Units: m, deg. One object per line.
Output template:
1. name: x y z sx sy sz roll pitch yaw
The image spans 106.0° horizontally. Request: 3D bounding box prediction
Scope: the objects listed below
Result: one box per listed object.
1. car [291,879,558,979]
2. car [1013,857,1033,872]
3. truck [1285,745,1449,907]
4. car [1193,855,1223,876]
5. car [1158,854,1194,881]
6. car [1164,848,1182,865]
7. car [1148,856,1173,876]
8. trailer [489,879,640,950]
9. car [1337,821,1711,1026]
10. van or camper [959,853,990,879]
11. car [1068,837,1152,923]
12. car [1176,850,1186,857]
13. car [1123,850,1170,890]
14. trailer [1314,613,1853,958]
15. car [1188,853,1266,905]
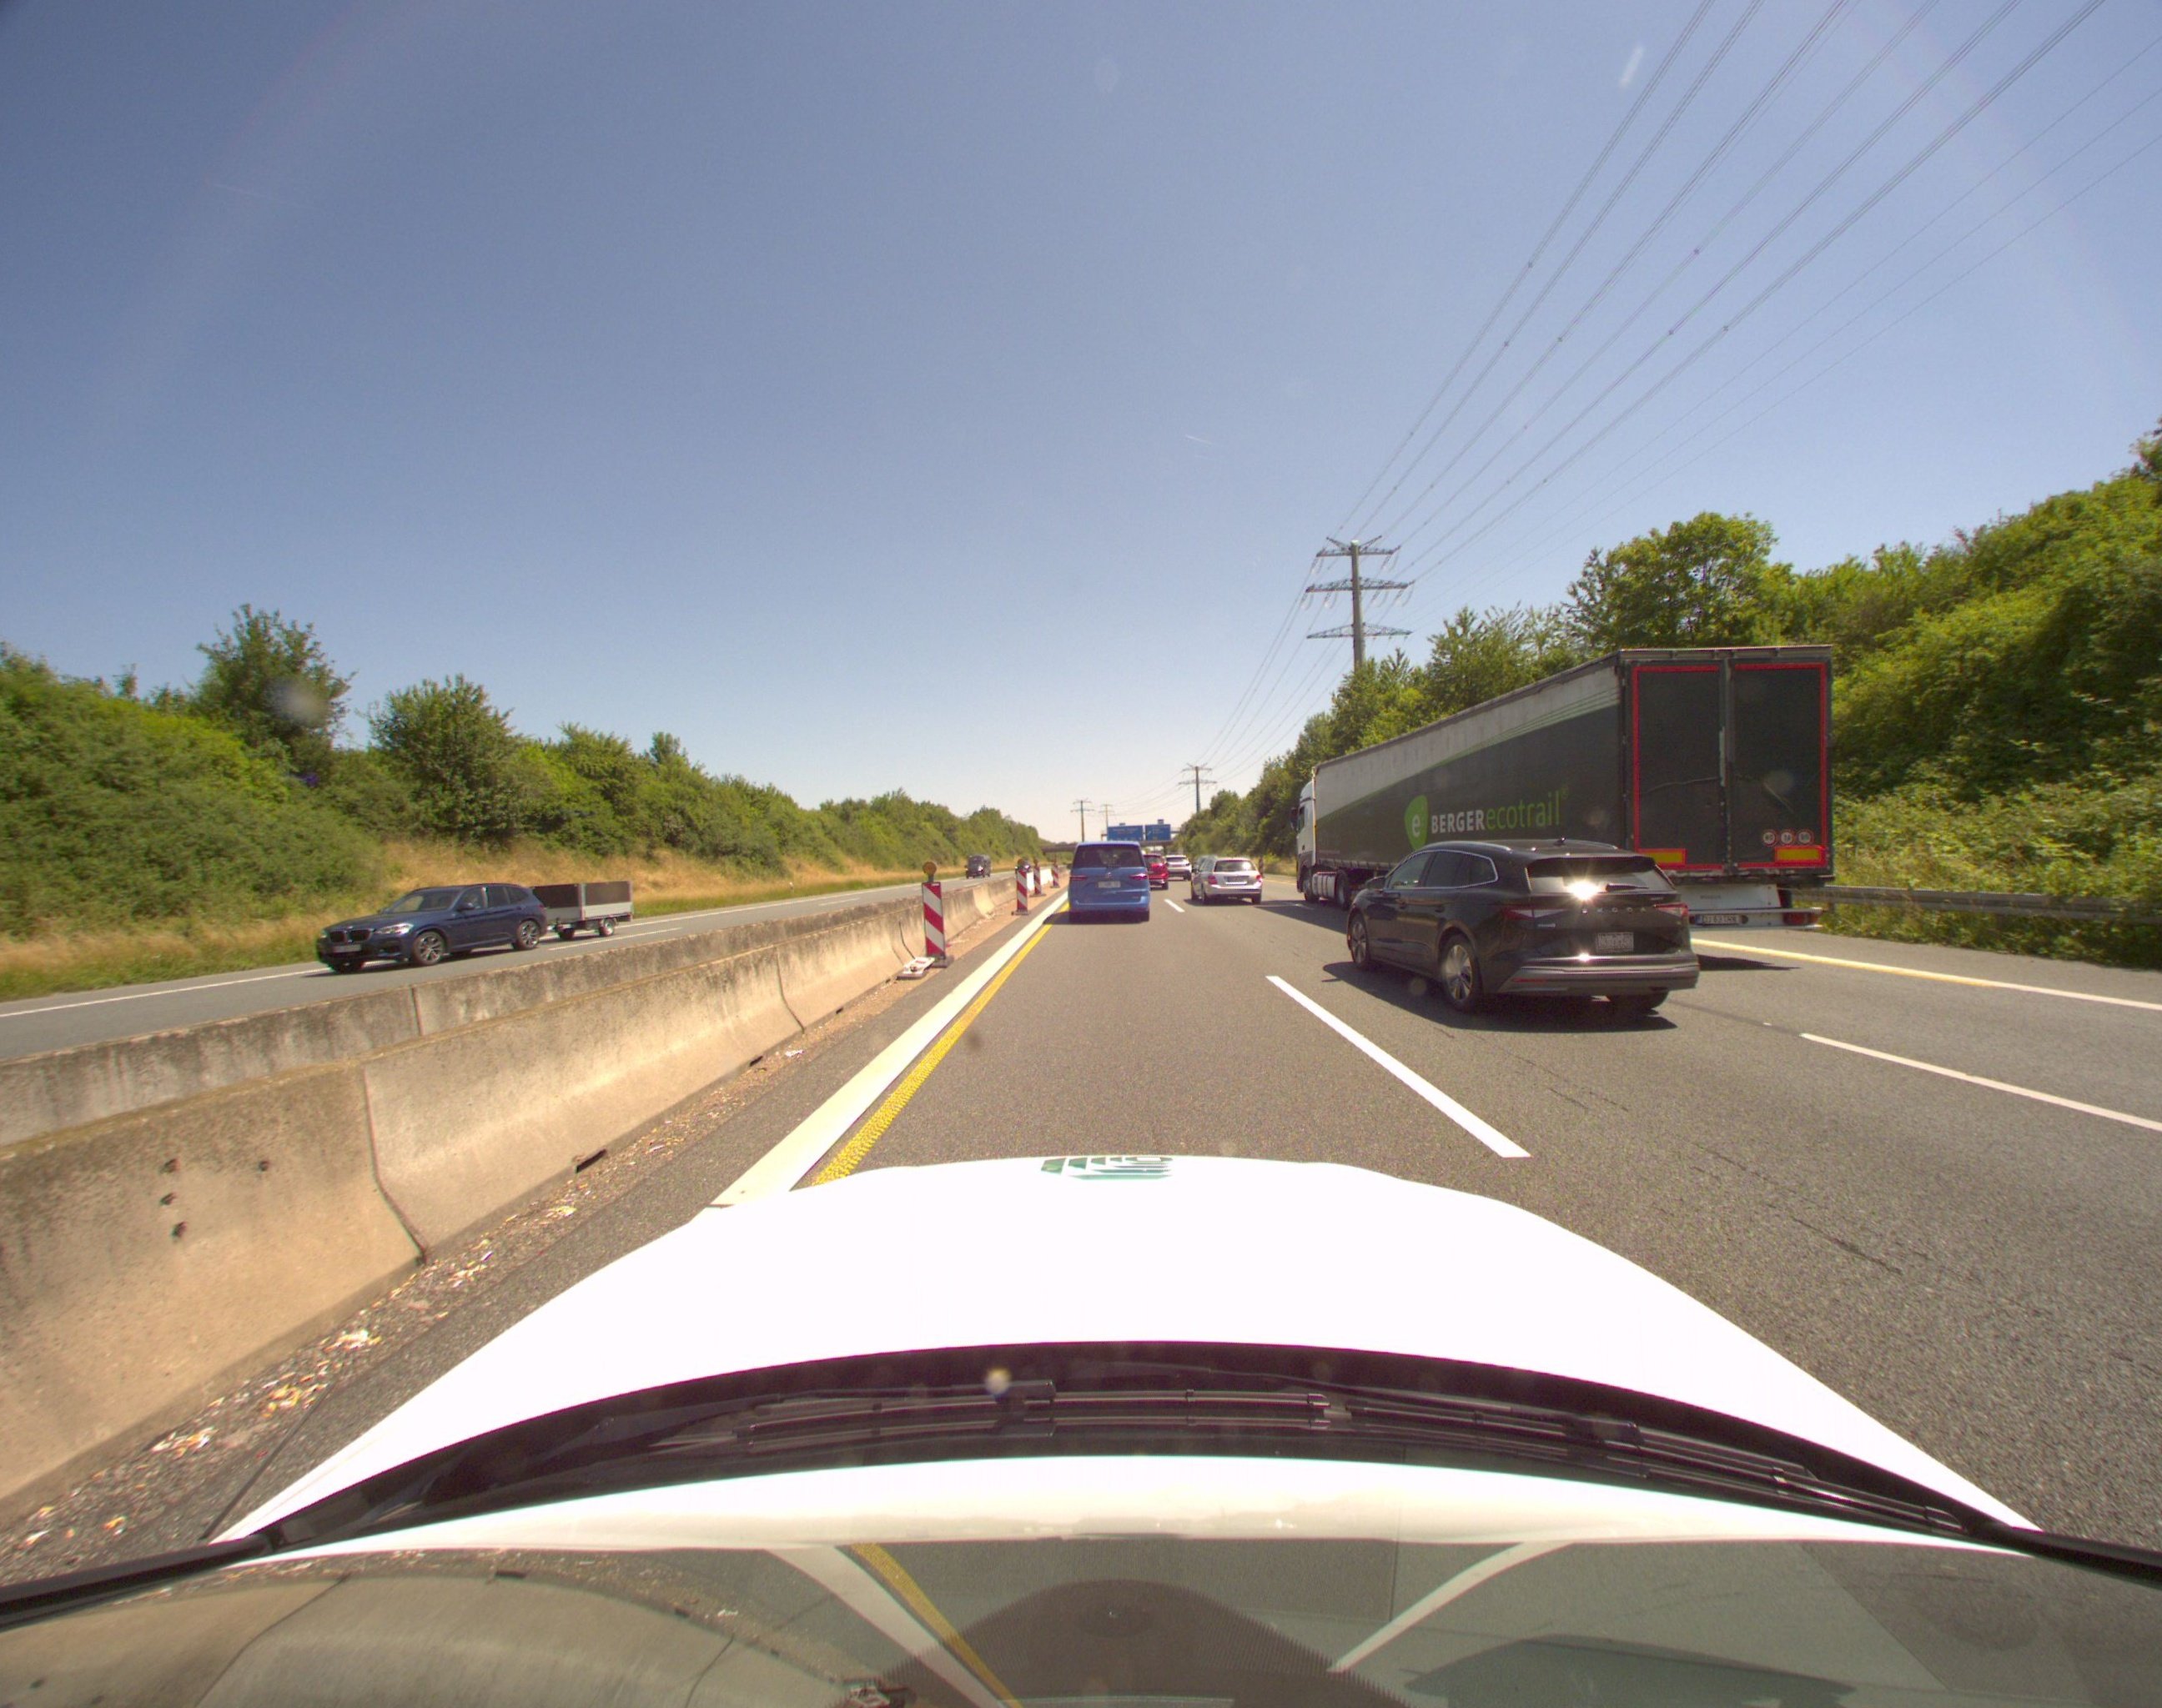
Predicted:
1. car: -14.245 1.529 18.143 1.986 1.650 4.632 -4 0 2
2. car: -7.282 1.316 103.175 1.986 1.684 4.154 -4 0 1
3. truck: 7.882 -0.675 23.282 2.723 4.047 5.794 0 -1 1
4. car: 9.173 0.802 58.860 1.694 1.448 3.789 0 0 2
5. car: 5.754 0.804 49.710 1.791 1.594 4.228 0 0 2
6. car: 11.328 0.348 100.549 1.791 2.014 4.228 0 0 2
7. car: 6.676 0.980 68.843 1.791 1.594 4.228 0 0 2
8. trailer: -14.028 1.582 22.397 1.563 1.552 3.781 -4 0 2
9. car: 4.296 0.583 8.836 1.695 1.655 4.430 0 0 1
10. van or camper: -12.034 1.319 92.492 2.215 2.710 7.081 -4 -1 1
11. car: 0.689 0.589 20.253 1.868 1.912 4.360 0 0 1
12. car: 24.698 -0.161 201.273 1.868 1.671 4.360 0 0 1
13. car: 2.923 0.702 37.061 1.868 1.671 4.360 0 0 1
14. trailer: 7.768 -0.759 16.126 2.773 4.047 13.113 0 0 1
15. car: 4.548 0.738 25.990 1.764 1.517 4.360 0 0 1
